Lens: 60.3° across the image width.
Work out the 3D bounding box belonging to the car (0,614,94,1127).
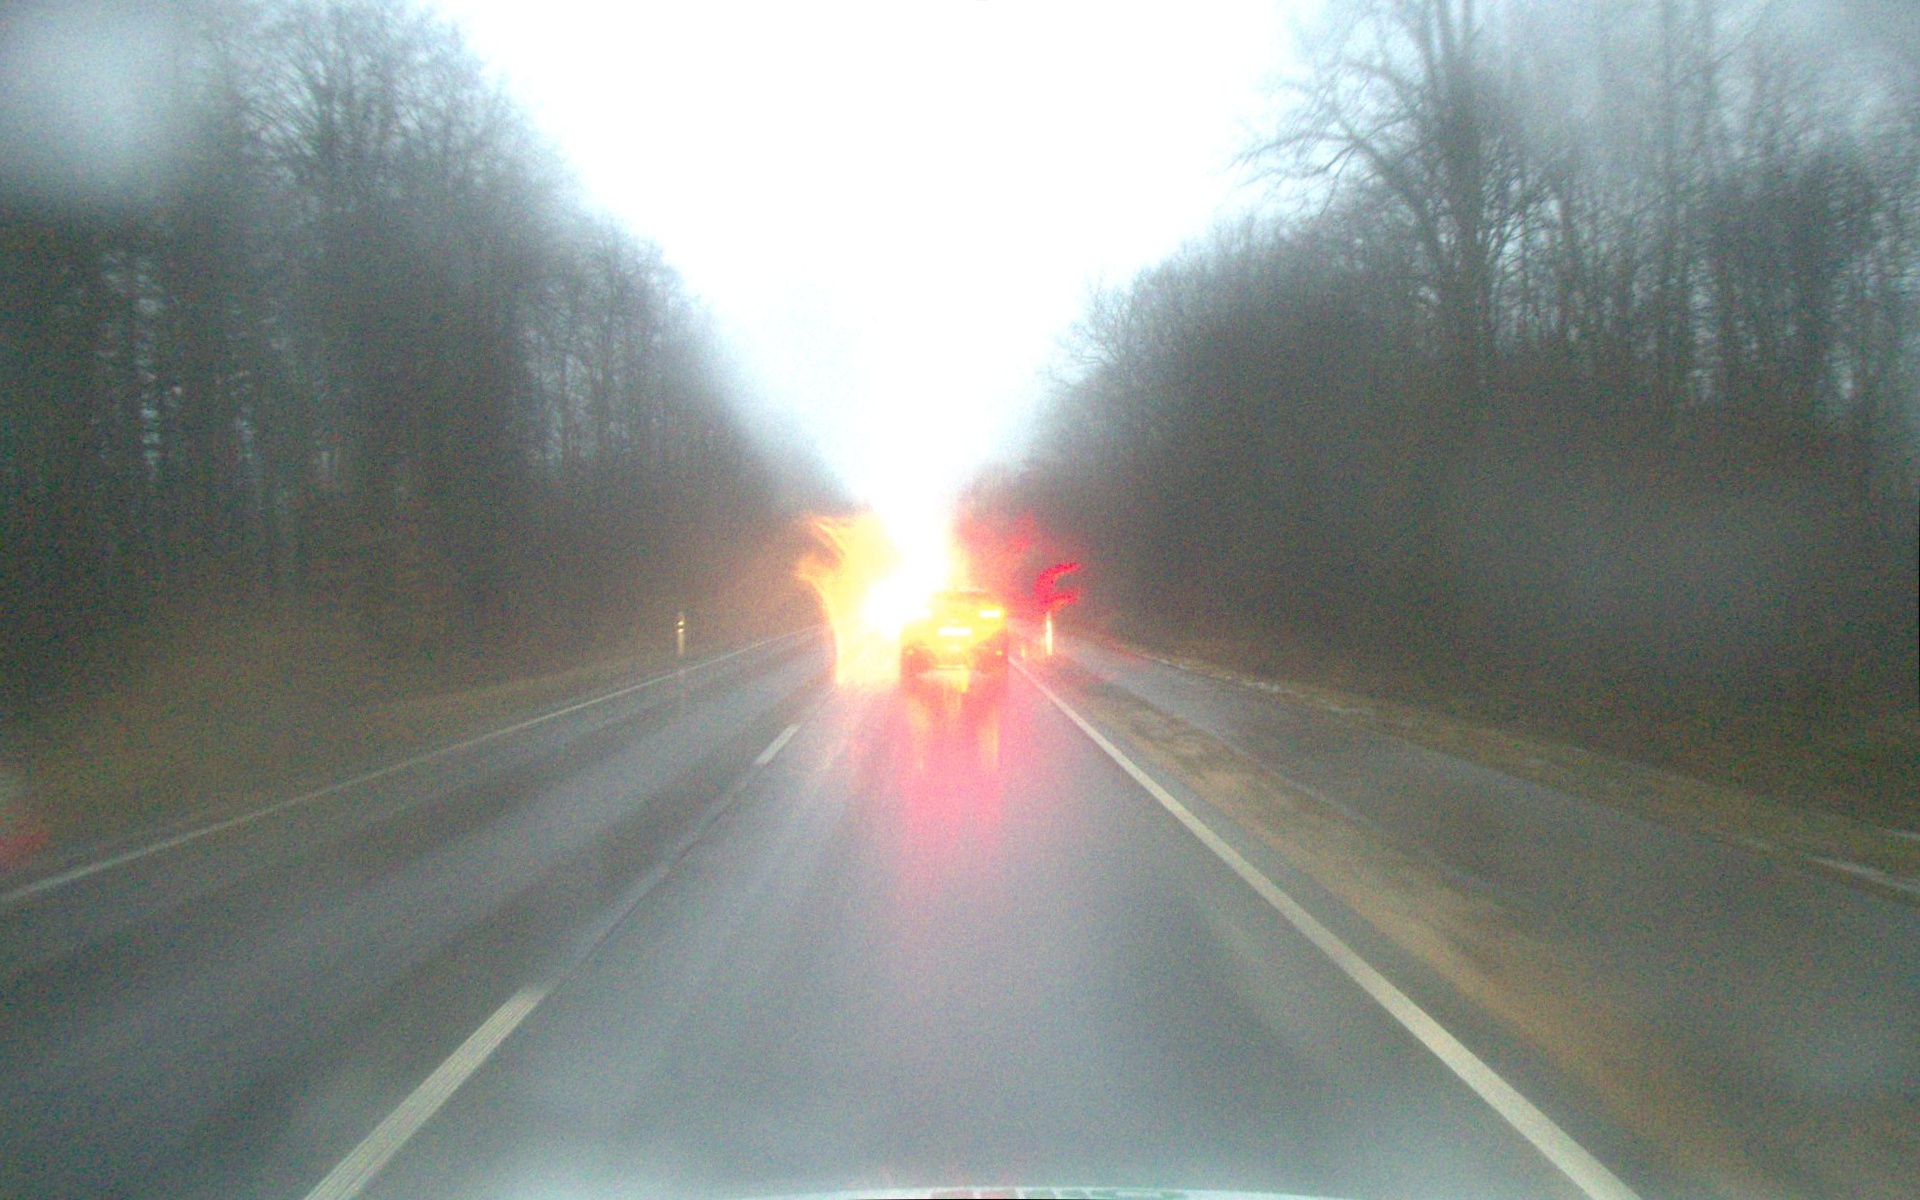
[{"bbox_3d":[-3.446,0.795,2.799,1.669,1.387,4.375,-2,1,-1],"label":"car"}]
